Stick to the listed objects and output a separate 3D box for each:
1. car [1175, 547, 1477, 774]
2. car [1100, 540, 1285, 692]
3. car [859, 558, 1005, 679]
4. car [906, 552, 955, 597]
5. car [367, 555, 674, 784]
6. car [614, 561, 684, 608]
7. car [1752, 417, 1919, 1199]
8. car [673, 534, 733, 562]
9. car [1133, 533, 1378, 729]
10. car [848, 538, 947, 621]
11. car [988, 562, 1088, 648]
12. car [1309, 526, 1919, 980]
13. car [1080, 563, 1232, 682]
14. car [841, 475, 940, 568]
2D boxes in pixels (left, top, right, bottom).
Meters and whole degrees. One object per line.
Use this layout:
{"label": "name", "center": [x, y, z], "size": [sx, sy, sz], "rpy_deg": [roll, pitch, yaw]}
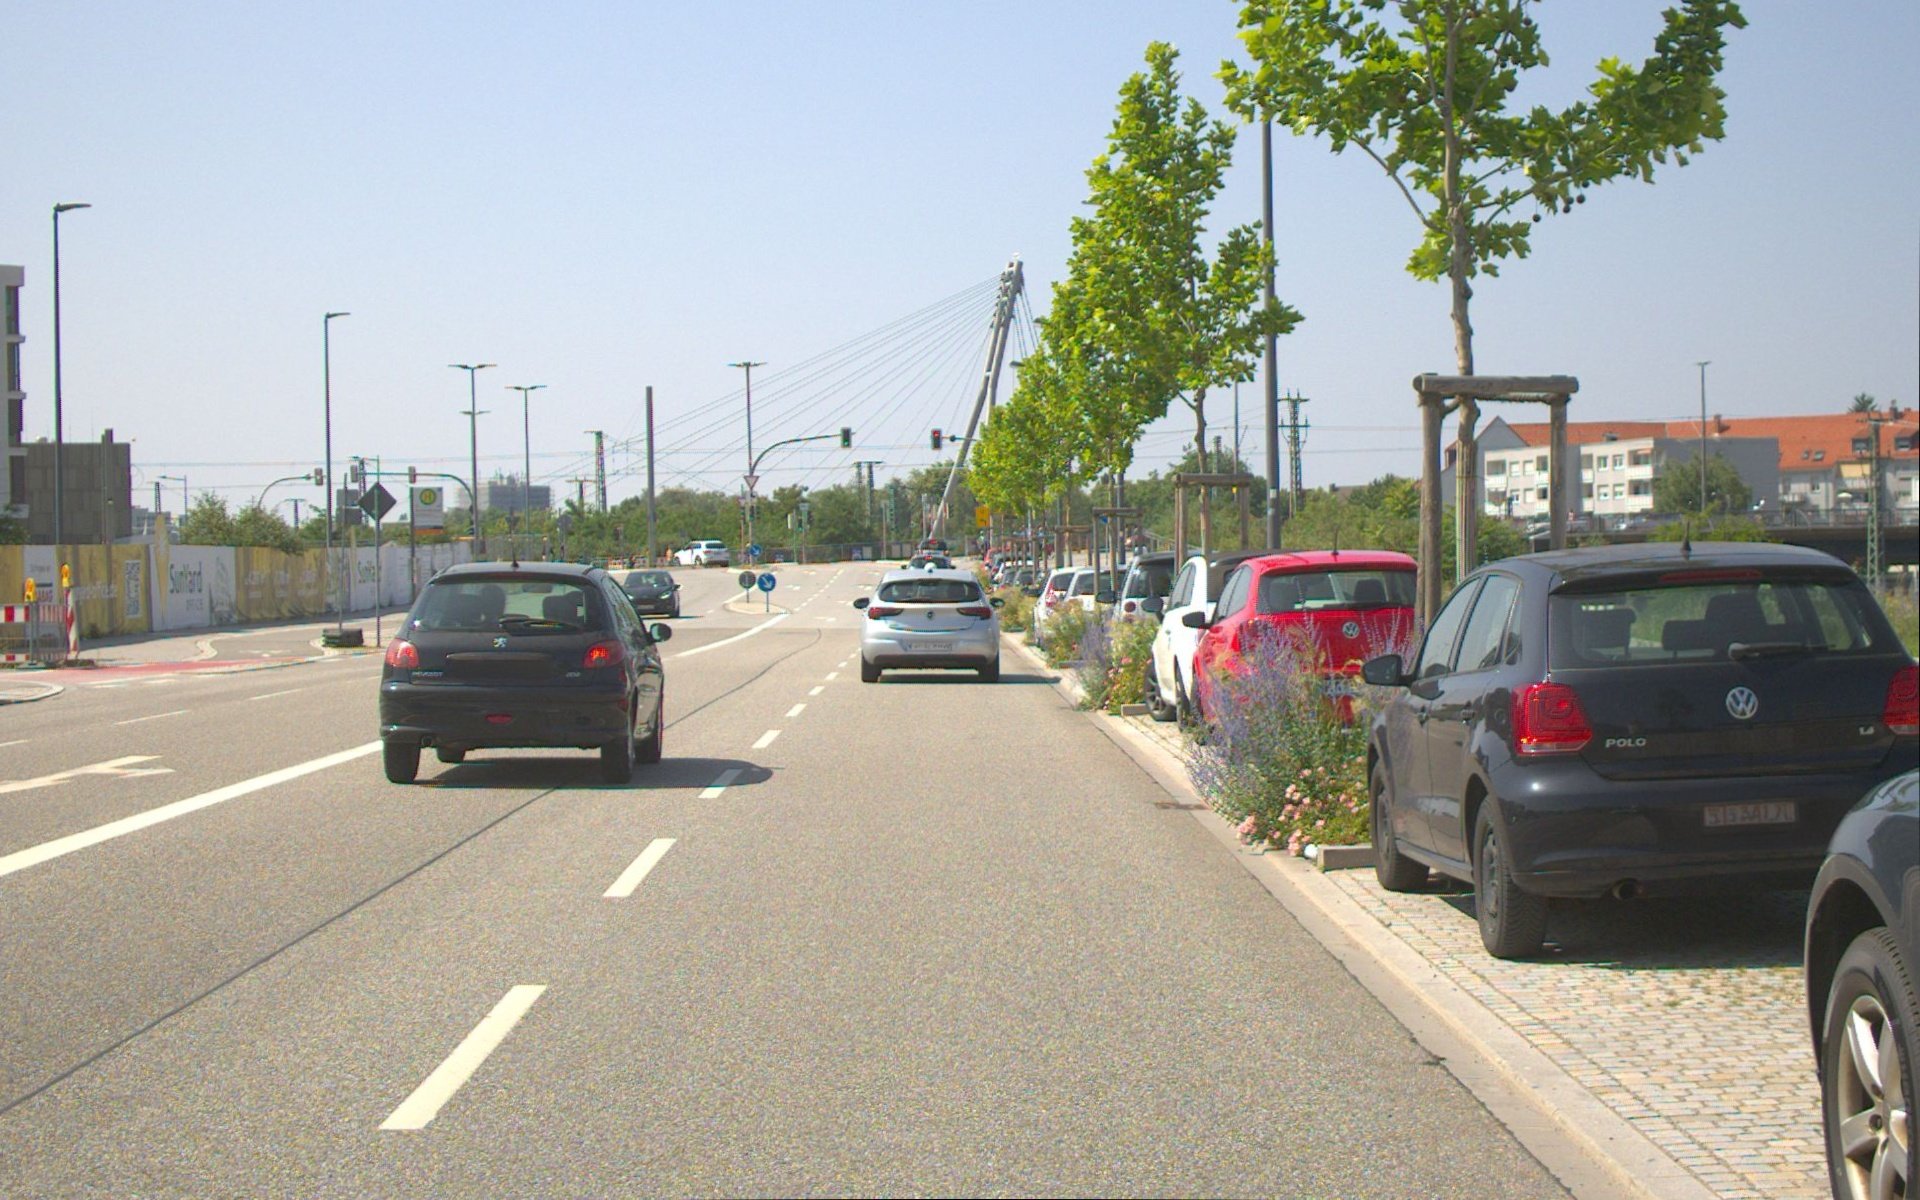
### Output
{"label": "car", "center": [2.585, 0.376, 25.120], "size": [1.717, 1.446, 4.001], "rpy_deg": [1, 2, -1]}
{"label": "car", "center": [2.530, 0.142, 38.075], "size": [1.908, 1.572, 4.157], "rpy_deg": [-1, 1, 3]}
{"label": "car", "center": [-0.327, 0.205, 45.055], "size": [1.778, 1.437, 4.000], "rpy_deg": [-1, 1, 1]}
{"label": "car", "center": [-1.074, -0.969, 127.968], "size": [1.778, 1.563, 4.000], "rpy_deg": [-1, 2, 0]}
{"label": "car", "center": [-2.928, 0.415, 23.565], "size": [1.619, 1.411, 3.727], "rpy_deg": [0, 1, 0]}
{"label": "car", "center": [-9.376, -0.465, 103.813], "size": [1.704, 1.347, 4.456], "rpy_deg": [-1, 0, 0]}
{"label": "car", "center": [2.600, 0.464, 5.032], "size": [1.734, 1.603, 4.241], "rpy_deg": [-2, 1, -2]}
{"label": "car", "center": [-15.117, -3.071, 202.353], "size": [1.854, 1.644, 4.000], "rpy_deg": [0, 1, -32]}
{"label": "car", "center": [2.507, 0.283, 29.951], "size": [1.717, 1.519, 3.642], "rpy_deg": [-3, -1, -1]}
{"label": "car", "center": [-1.200, -0.377, 67.855], "size": [1.778, 1.563, 4.000], "rpy_deg": [1, 0, 1]}
{"label": "car", "center": [1.406, 0.102, 62.334], "size": [1.746, 1.504, 4.001], "rpy_deg": [0, -1, 1]}
{"label": "car", "center": [2.485, 0.465, 13.445], "size": [1.633, 1.424, 4.241], "rpy_deg": [-3, 1, -2]}
{"label": "car", "center": [2.584, 0.263, 45.805], "size": [1.908, 1.474, 4.157], "rpy_deg": [-1, 1, 3]}
{"label": "car", "center": [-1.371, -1.557, 69.392], "size": [1.793, 1.744, 4.000], "rpy_deg": [1, 0, 1]}
